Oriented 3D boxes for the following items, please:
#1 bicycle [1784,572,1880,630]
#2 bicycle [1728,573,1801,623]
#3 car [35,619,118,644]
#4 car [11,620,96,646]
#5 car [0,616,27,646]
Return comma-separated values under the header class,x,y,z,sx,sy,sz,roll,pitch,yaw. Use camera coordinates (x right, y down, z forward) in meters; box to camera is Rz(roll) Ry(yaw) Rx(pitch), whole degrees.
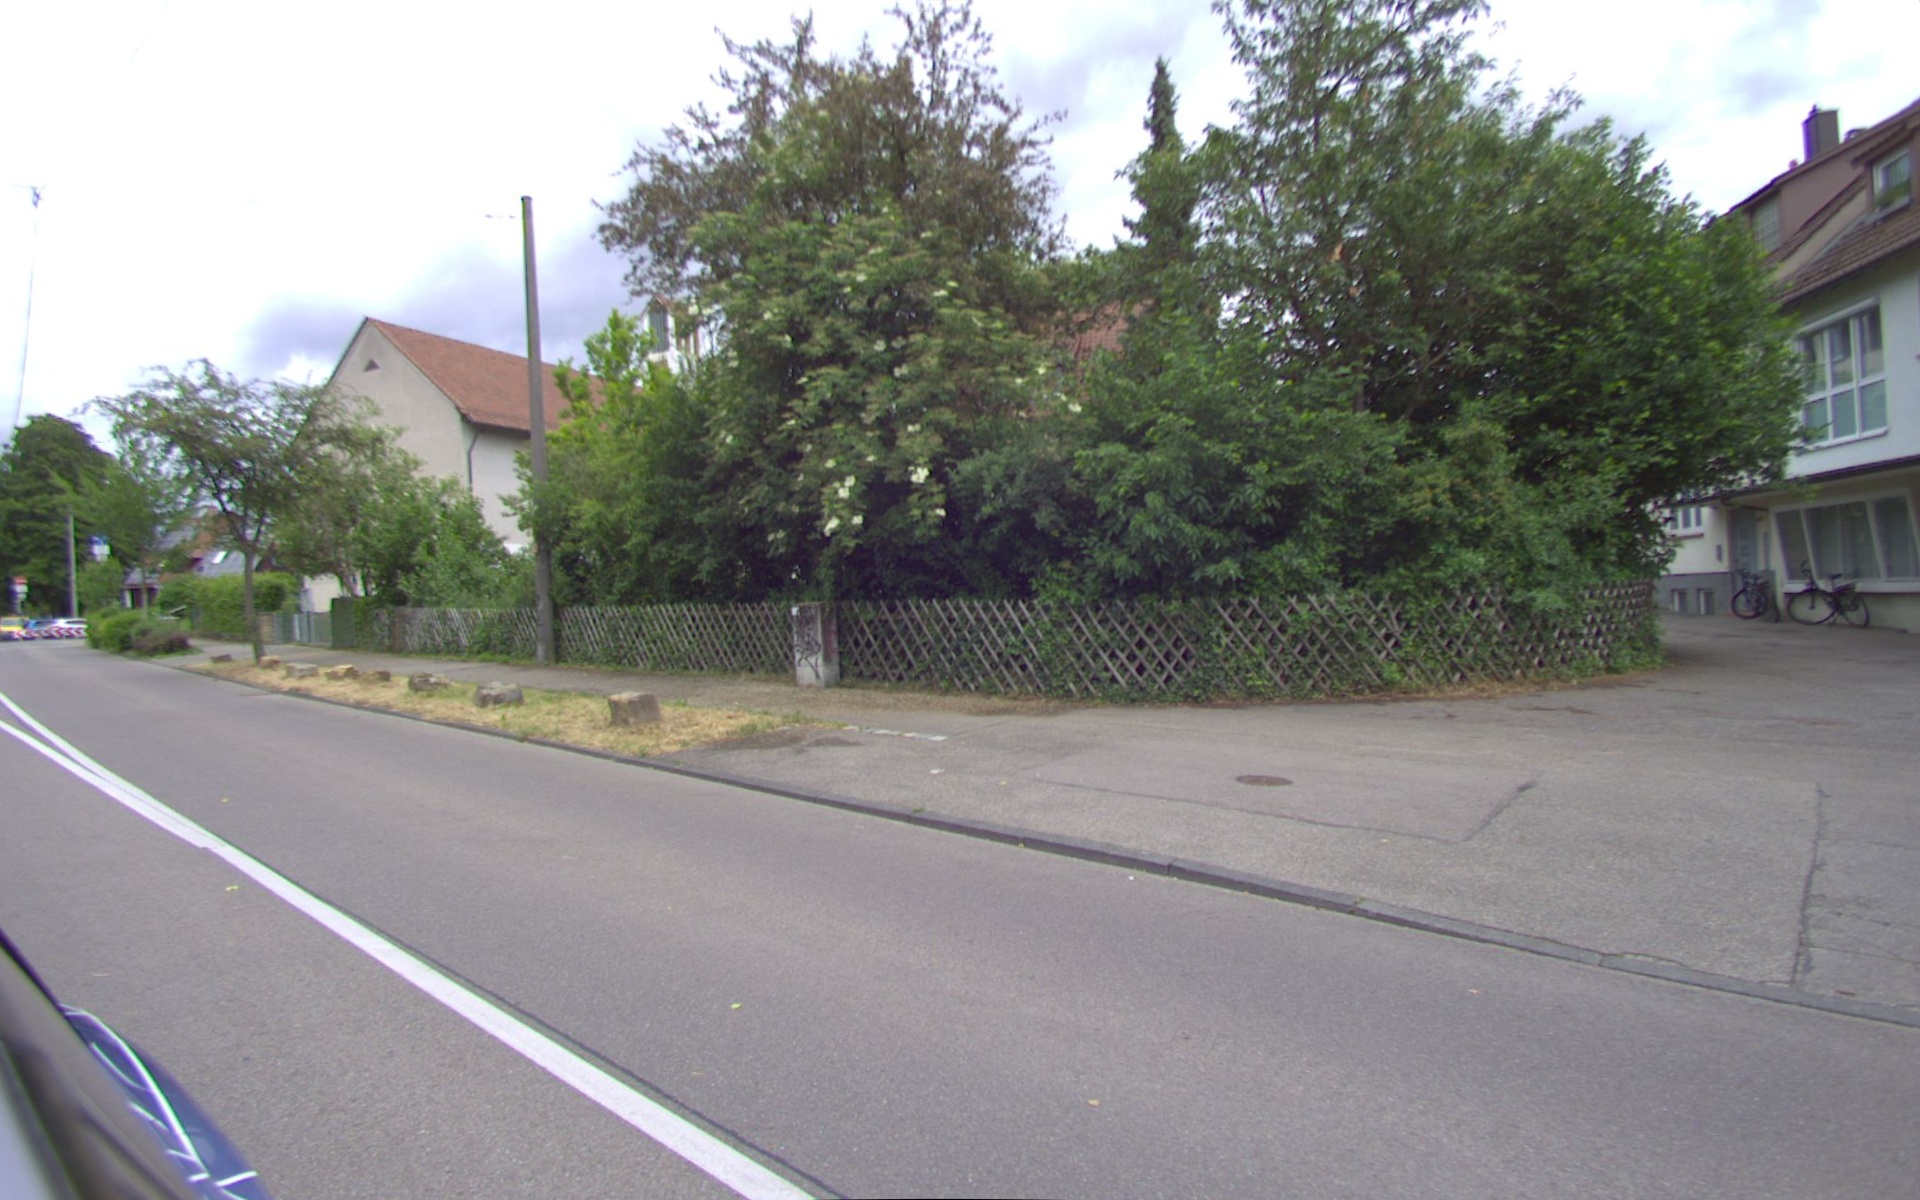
class,x,y,z,sx,sy,sz,roll,pitch,yaw
bicycle,15.118,-0.001,17.591,0.655,0.919,1.636,-2,2,18
bicycle,15.525,-0.050,19.563,0.631,0.891,1.396,-2,2,18
car,-59.307,2.101,67.981,1.840,1.483,3.862,-4,-1,33
car,-61.648,2.249,68.878,1.844,1.558,4.123,-4,-1,40
car,-68.708,2.263,73.016,1.894,2.004,4.803,-2,0,-45
